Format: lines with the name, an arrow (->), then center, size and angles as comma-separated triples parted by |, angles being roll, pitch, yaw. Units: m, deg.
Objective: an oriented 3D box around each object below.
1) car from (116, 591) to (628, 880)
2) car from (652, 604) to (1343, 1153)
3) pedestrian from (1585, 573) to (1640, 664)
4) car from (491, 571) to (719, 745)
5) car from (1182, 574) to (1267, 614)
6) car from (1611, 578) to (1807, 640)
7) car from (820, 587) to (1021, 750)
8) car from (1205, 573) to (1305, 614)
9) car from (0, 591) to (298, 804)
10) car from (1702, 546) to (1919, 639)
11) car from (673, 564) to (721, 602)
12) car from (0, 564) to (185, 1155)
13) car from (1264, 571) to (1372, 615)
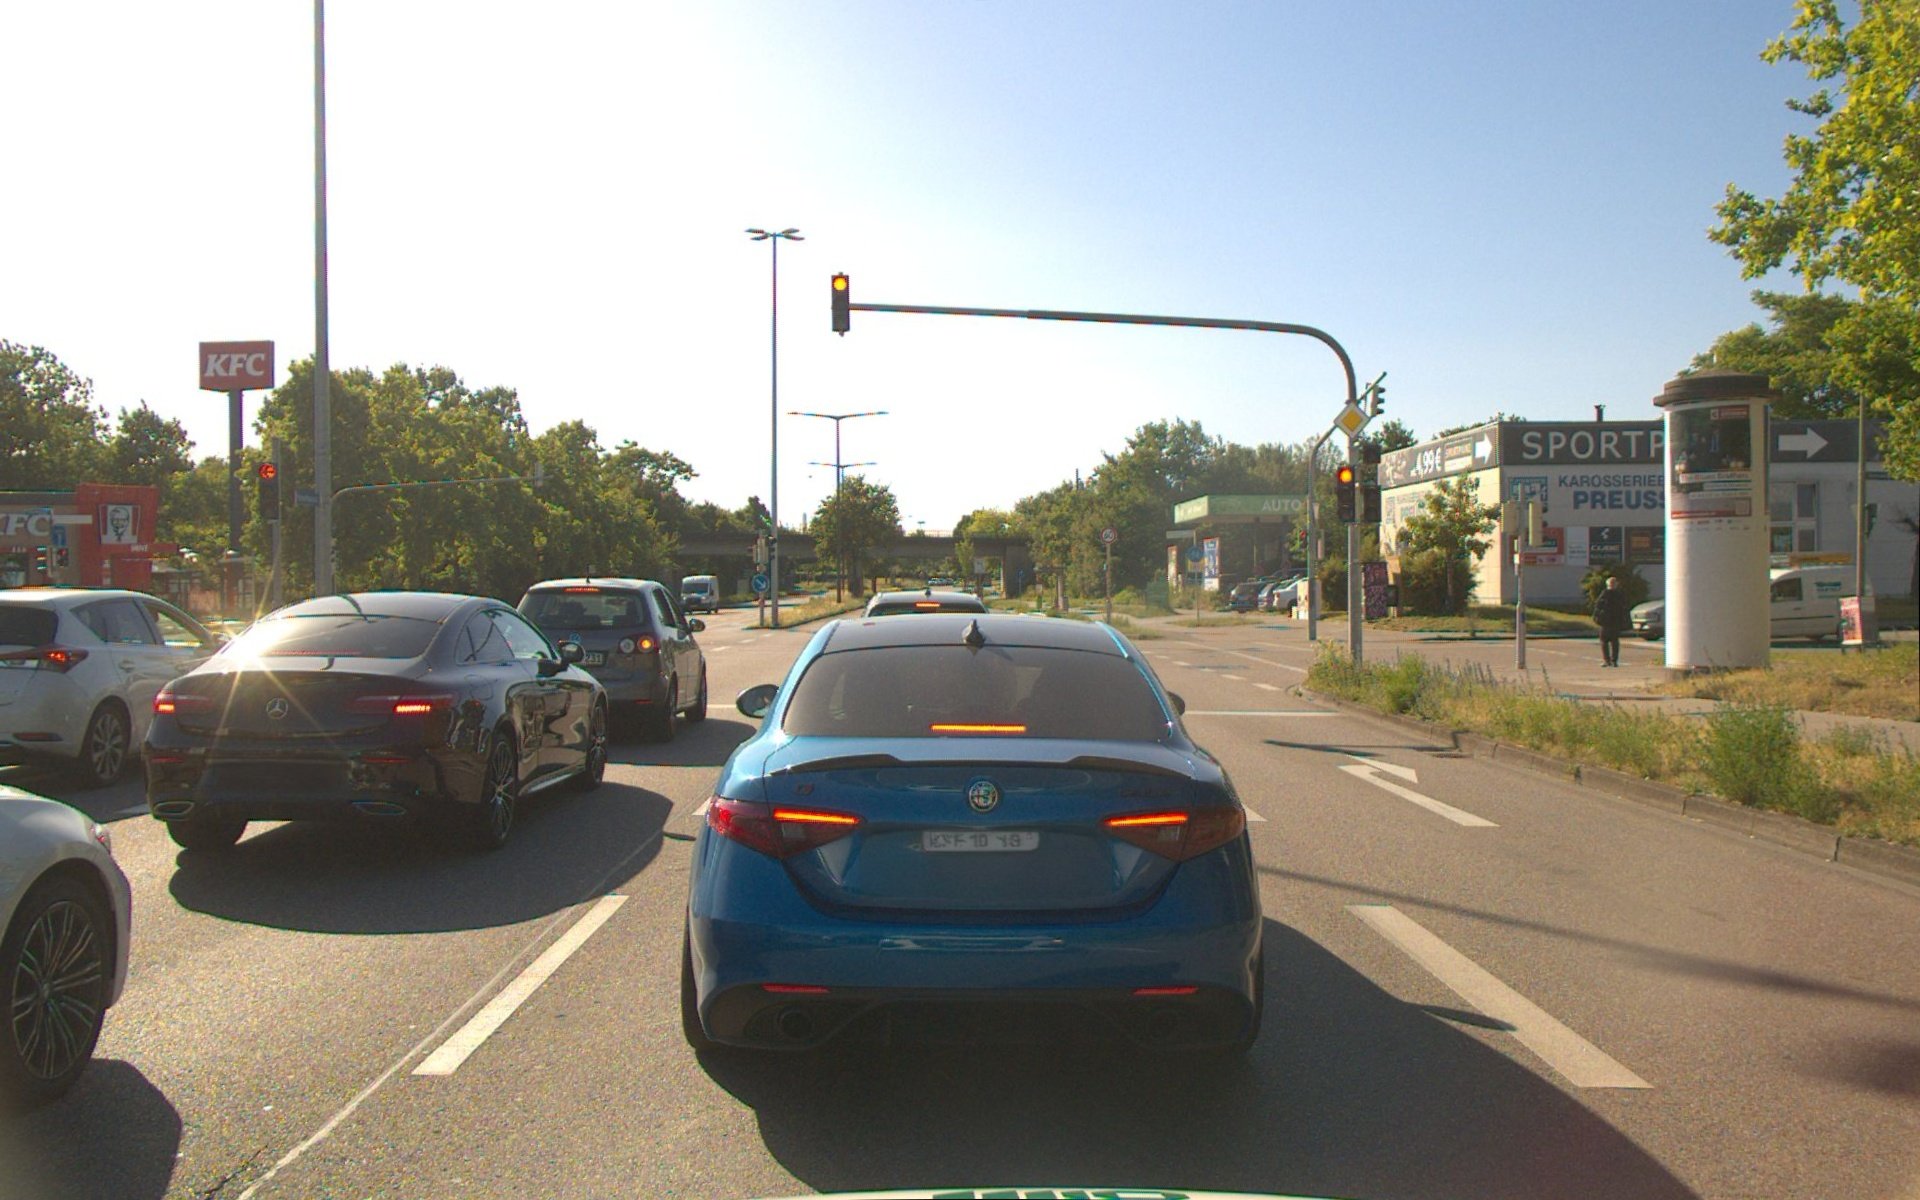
car -> -3.410, 0.671, 10.574 | 1.732, 1.439, 4.460 | 0, 0, -1
car -> 0.077, 0.748, 6.357 | 1.828, 1.409, 3.931 | 0, 0, -1
pedestrian -> 12.705, 0.352, 32.229 | 0.805, 1.752, 0.854 | 0, 0, 6
car -> -3.611, 0.525, 17.466 | 1.615, 1.626, 3.931 | 0, 0, -1
car -> 11.885, -0.267, 74.335 | 3.428, 1.736, 1.688 | 0, 0, -16
car -> 19.765, 0.221, 43.732 | 4.318, 1.580, 1.998 | 0, 0, -4
car -> -0.388, 0.609, 17.060 | 1.828, 1.475, 3.931 | 0, 0, -1
car -> 12.680, -0.272, 71.157 | 3.928, 1.736, 1.686 | 0, 0, -20
car -> -7.185, 0.659, 13.528 | 1.819, 1.454, 4.403 | 0, 0, -1
car -> 20.608, -0.194, 40.163 | 4.318, 2.183, 1.998 | 0, 0, -4
car -> -17.403, -1.105, 109.727 | 2.383, 2.469, 5.828 | 0, 0, -2
car -> -3.345, 0.684, 3.101 | 1.732, 1.535, 4.460 | 0, 0, -1
car -> 14.352, -0.283, 66.327 | 3.923, 1.736, 1.687 | 0, 0, -17
